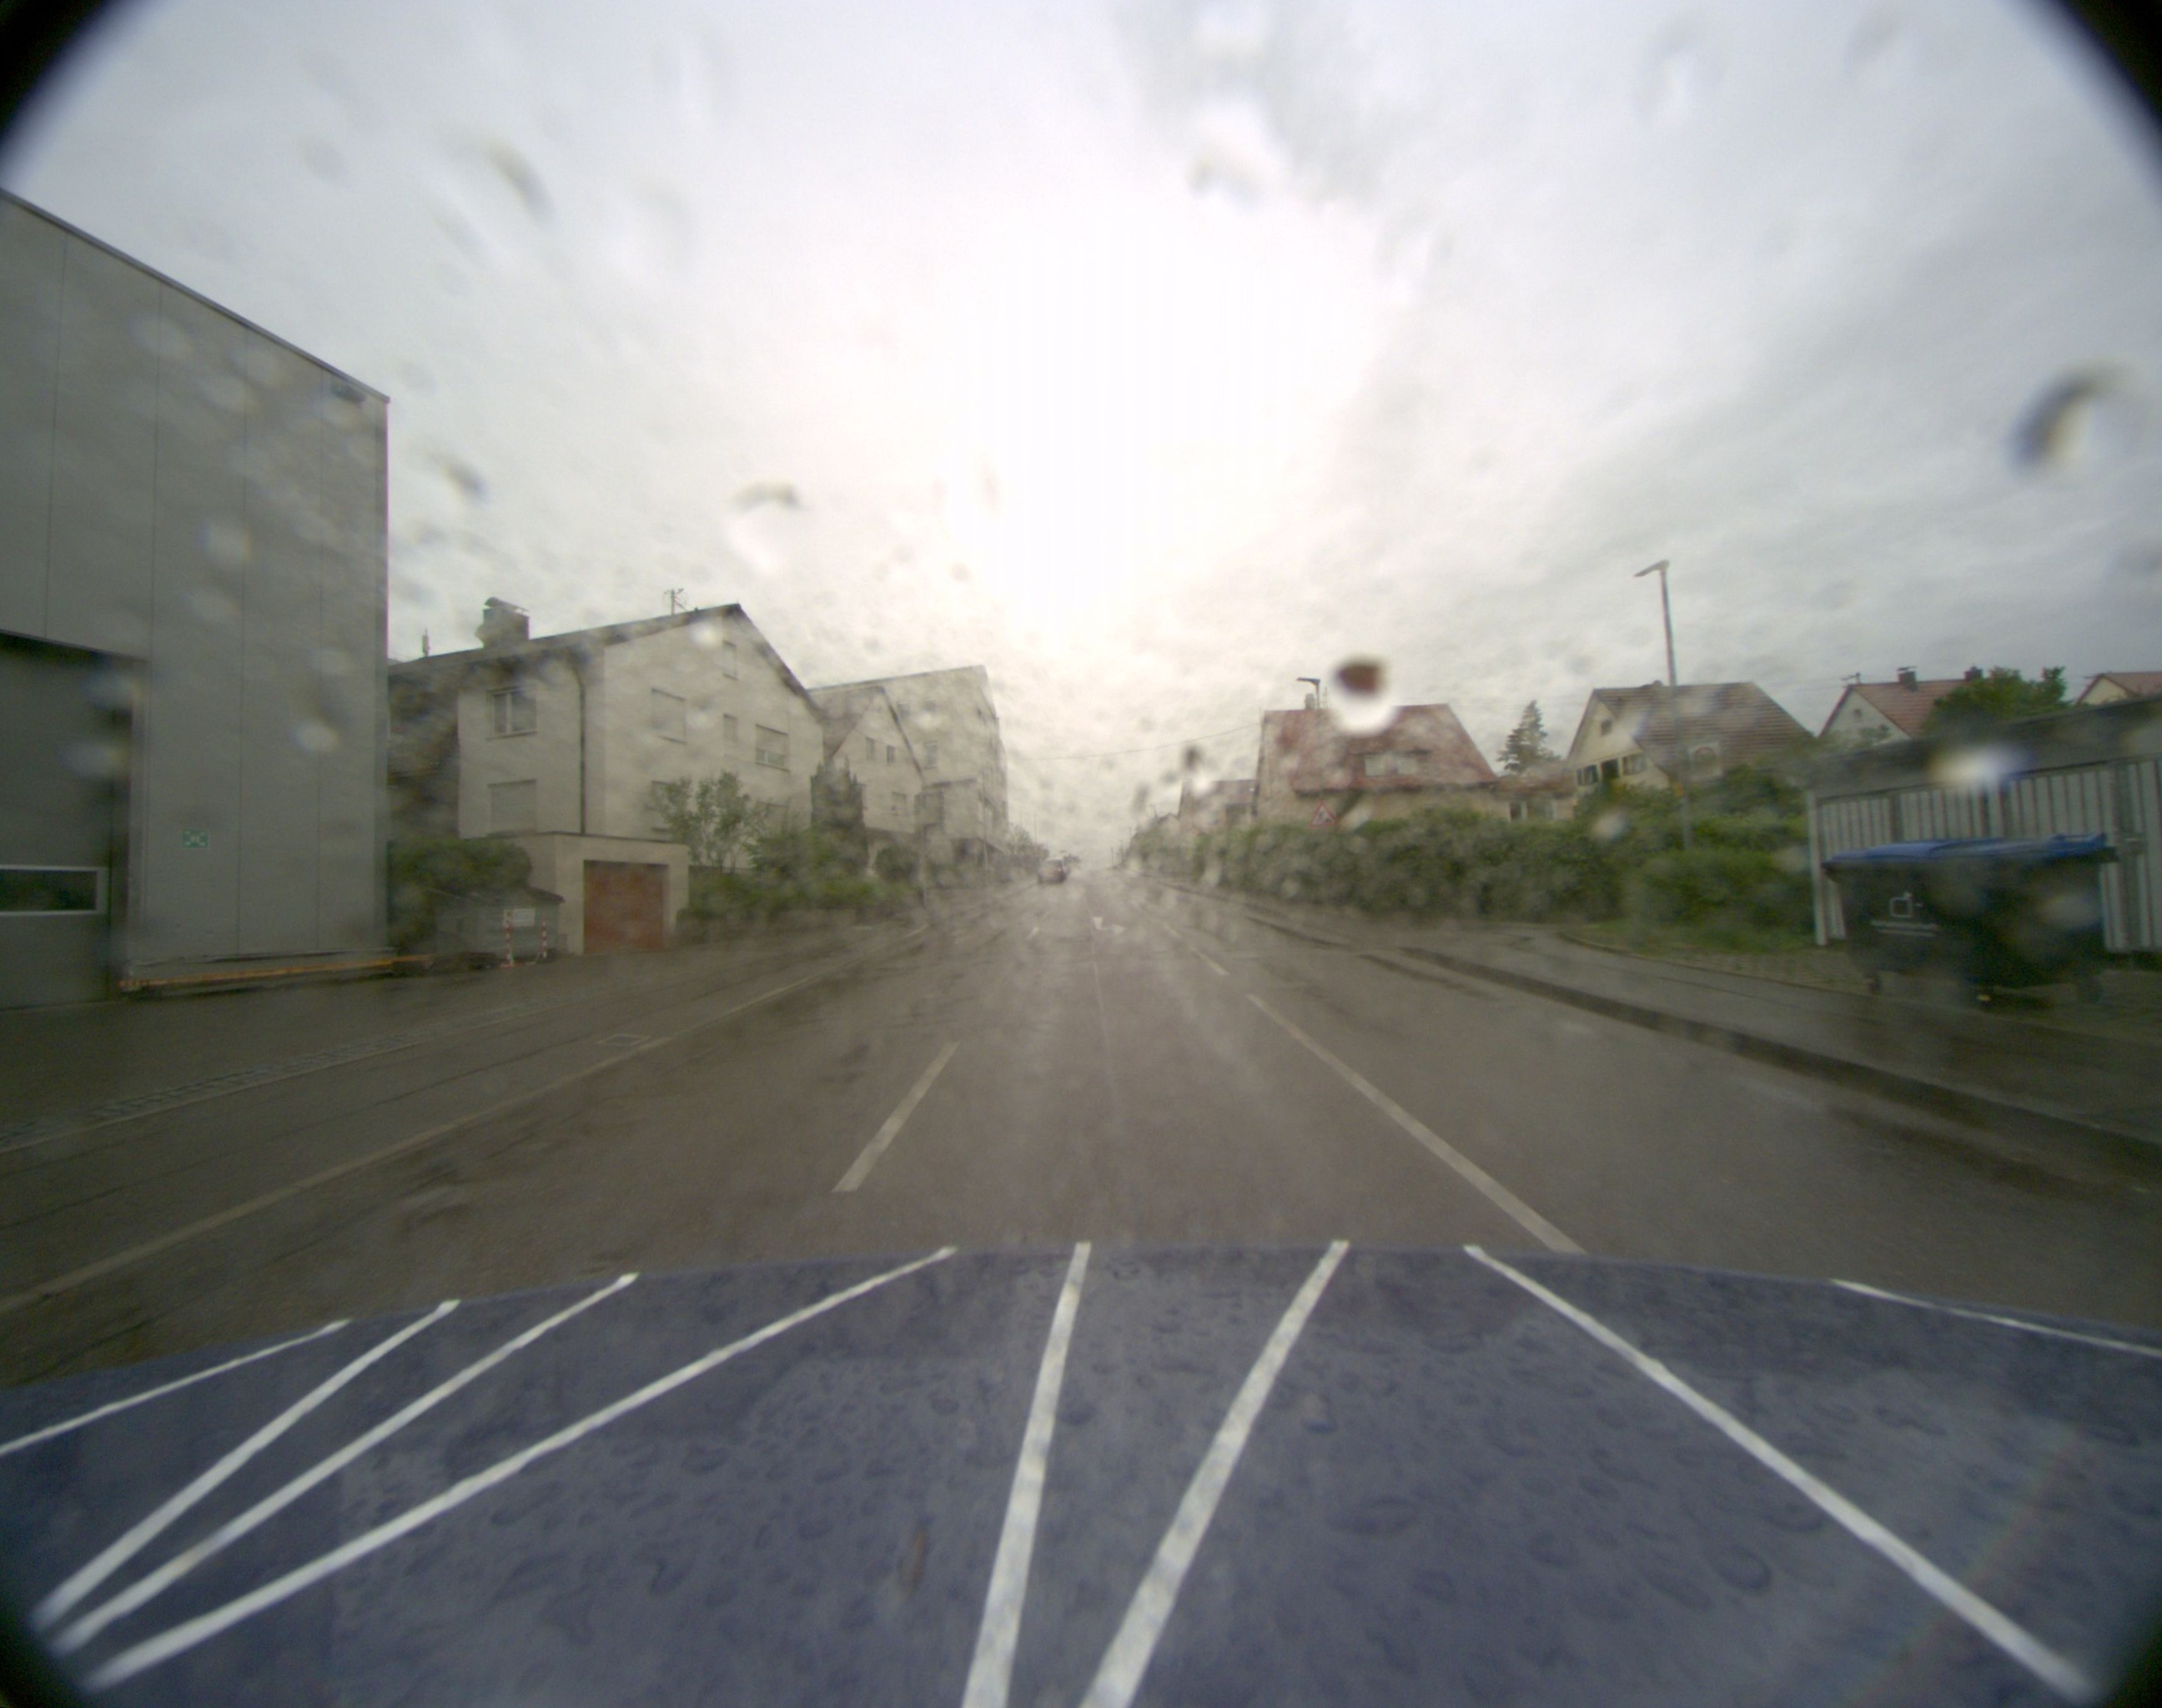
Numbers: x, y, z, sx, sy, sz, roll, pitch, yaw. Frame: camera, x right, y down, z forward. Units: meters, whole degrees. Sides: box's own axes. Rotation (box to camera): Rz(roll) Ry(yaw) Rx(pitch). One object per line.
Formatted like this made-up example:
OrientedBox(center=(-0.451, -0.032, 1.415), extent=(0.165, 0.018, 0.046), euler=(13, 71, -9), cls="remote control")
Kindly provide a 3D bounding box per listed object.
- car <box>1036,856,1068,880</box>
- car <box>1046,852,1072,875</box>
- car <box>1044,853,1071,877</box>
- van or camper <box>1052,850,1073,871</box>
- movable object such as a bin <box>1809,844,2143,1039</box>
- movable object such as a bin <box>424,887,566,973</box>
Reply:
OrientedBox(center=(-2.154, 1.000, 57.443), extent=(1.998, 1.635, 4.958), euler=(-2, 0, 1), cls="car")
OrientedBox(center=(-1.979, 0.801, 68.447), extent=(1.998, 1.923, 4.976), euler=(-2, 0, 1), cls="car")
OrientedBox(center=(-1.930, 0.909, 62.669), extent=(1.883, 1.823, 4.489), euler=(-2, 0, 1), cls="car")
OrientedBox(center=(-1.987, 0.724, 81.676), extent=(1.998, 2.101, 5.203), euler=(-2, 0, 0), cls="van or camper")
OrientedBox(center=(7.117, 0.633, 6.162), extent=(1.074, 1.339, 1.319), euler=(-4, 0, -1), cls="movable object such as a bin")
OrientedBox(center=(-11.493, 1.453, 14.975), extent=(1.263, 1.509, 1.781), euler=(-1, 0, 16), cls="movable object such as a bin")
